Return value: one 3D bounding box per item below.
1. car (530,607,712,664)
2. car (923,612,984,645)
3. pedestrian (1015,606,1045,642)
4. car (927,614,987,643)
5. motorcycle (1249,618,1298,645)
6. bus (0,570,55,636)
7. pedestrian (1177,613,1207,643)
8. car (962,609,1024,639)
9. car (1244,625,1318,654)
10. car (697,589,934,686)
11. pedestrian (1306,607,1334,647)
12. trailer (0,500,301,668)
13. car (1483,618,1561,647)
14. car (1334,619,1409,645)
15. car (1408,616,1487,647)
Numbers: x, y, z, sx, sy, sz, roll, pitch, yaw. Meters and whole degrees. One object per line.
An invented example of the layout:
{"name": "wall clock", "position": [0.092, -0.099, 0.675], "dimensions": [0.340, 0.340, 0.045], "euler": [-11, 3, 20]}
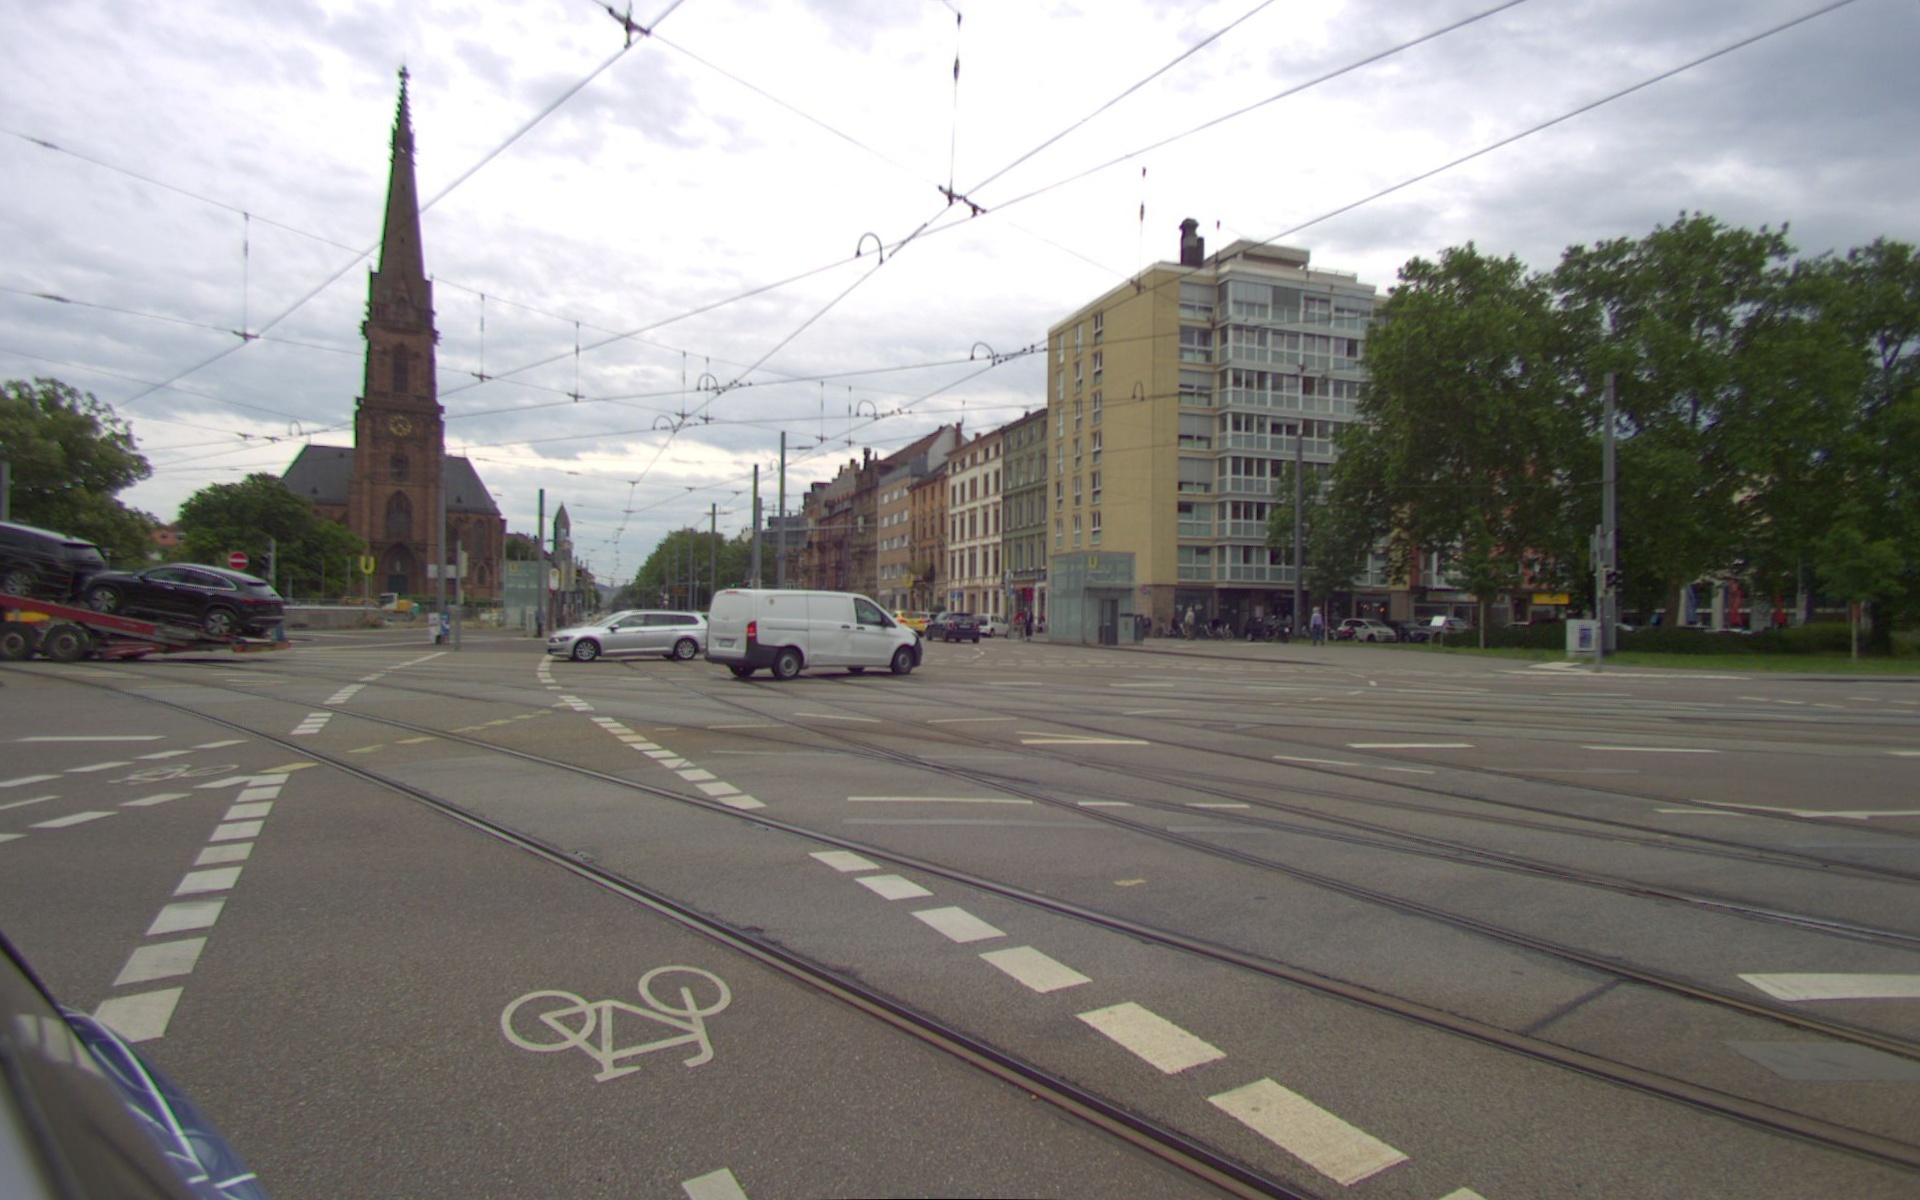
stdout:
{"name": "car", "position": [-9.656, 0.997, 28.929], "dimensions": [4.599, 1.504, 2.006], "euler": [1, -1, -31]}
{"name": "car", "position": [-0.352, 1.300, 47.395], "dimensions": [1.745, 1.480, 4.012], "euler": [1, -1, -17]}
{"name": "pedestrian", "position": [3.541, 1.228, 51.282], "dimensions": [1.160, 1.798, 1.044], "euler": [1, -1, -24]}
{"name": "car", "position": [-0.178, 1.872, 66.615], "dimensions": [2.077, 1.768, 3.951], "euler": [1, 0, 36]}
{"name": "motorcycle", "position": [15.037, 1.515, 48.611], "dimensions": [0.849, 1.187, 2.556], "euler": [1, 0, -19]}
{"name": "bus", "position": [-50.415, 0.064, 51.189], "dimensions": [11.960, 3.100, 2.838], "euler": [1, 0, 27]}
{"name": "pedestrian", "position": [12.740, 1.524, 55.595], "dimensions": [1.022, 1.652, 1.336], "euler": [1, -1, -23]}
{"name": "car", "position": [2.120, 1.487, 64.349], "dimensions": [2.077, 1.768, 3.951], "euler": [1, 0, 36]}
{"name": "car", "position": [18.475, 2.261, 58.416], "dimensions": [1.965, 1.564, 4.013], "euler": [1, -1, -23]}
{"name": "car", "position": [-3.065, 0.750, 22.375], "dimensions": [5.013, 1.896, 1.925], "euler": [1, 0, -44]}
{"name": "pedestrian", "position": [16.032, 1.207, 45.030], "dimensions": [0.695, 1.732, 0.918], "euler": [1, 0, -32]}
{"name": "trailer", "position": [-22.617, -0.402, 25.799], "dimensions": [9.406, 4.003, 3.001], "euler": [1, 0, -6]}
{"name": "car", "position": [36.217, 2.066, 65.307], "dimensions": [1.965, 1.719, 4.013], "euler": [1, 0, -24]}
{"name": "car", "position": [25.025, 1.926, 61.679], "dimensions": [1.965, 1.564, 4.013], "euler": [1, -1, -23]}
{"name": "car", "position": [29.705, 1.893, 61.760], "dimensions": [1.965, 1.719, 4.013], "euler": [1, 0, -24]}
